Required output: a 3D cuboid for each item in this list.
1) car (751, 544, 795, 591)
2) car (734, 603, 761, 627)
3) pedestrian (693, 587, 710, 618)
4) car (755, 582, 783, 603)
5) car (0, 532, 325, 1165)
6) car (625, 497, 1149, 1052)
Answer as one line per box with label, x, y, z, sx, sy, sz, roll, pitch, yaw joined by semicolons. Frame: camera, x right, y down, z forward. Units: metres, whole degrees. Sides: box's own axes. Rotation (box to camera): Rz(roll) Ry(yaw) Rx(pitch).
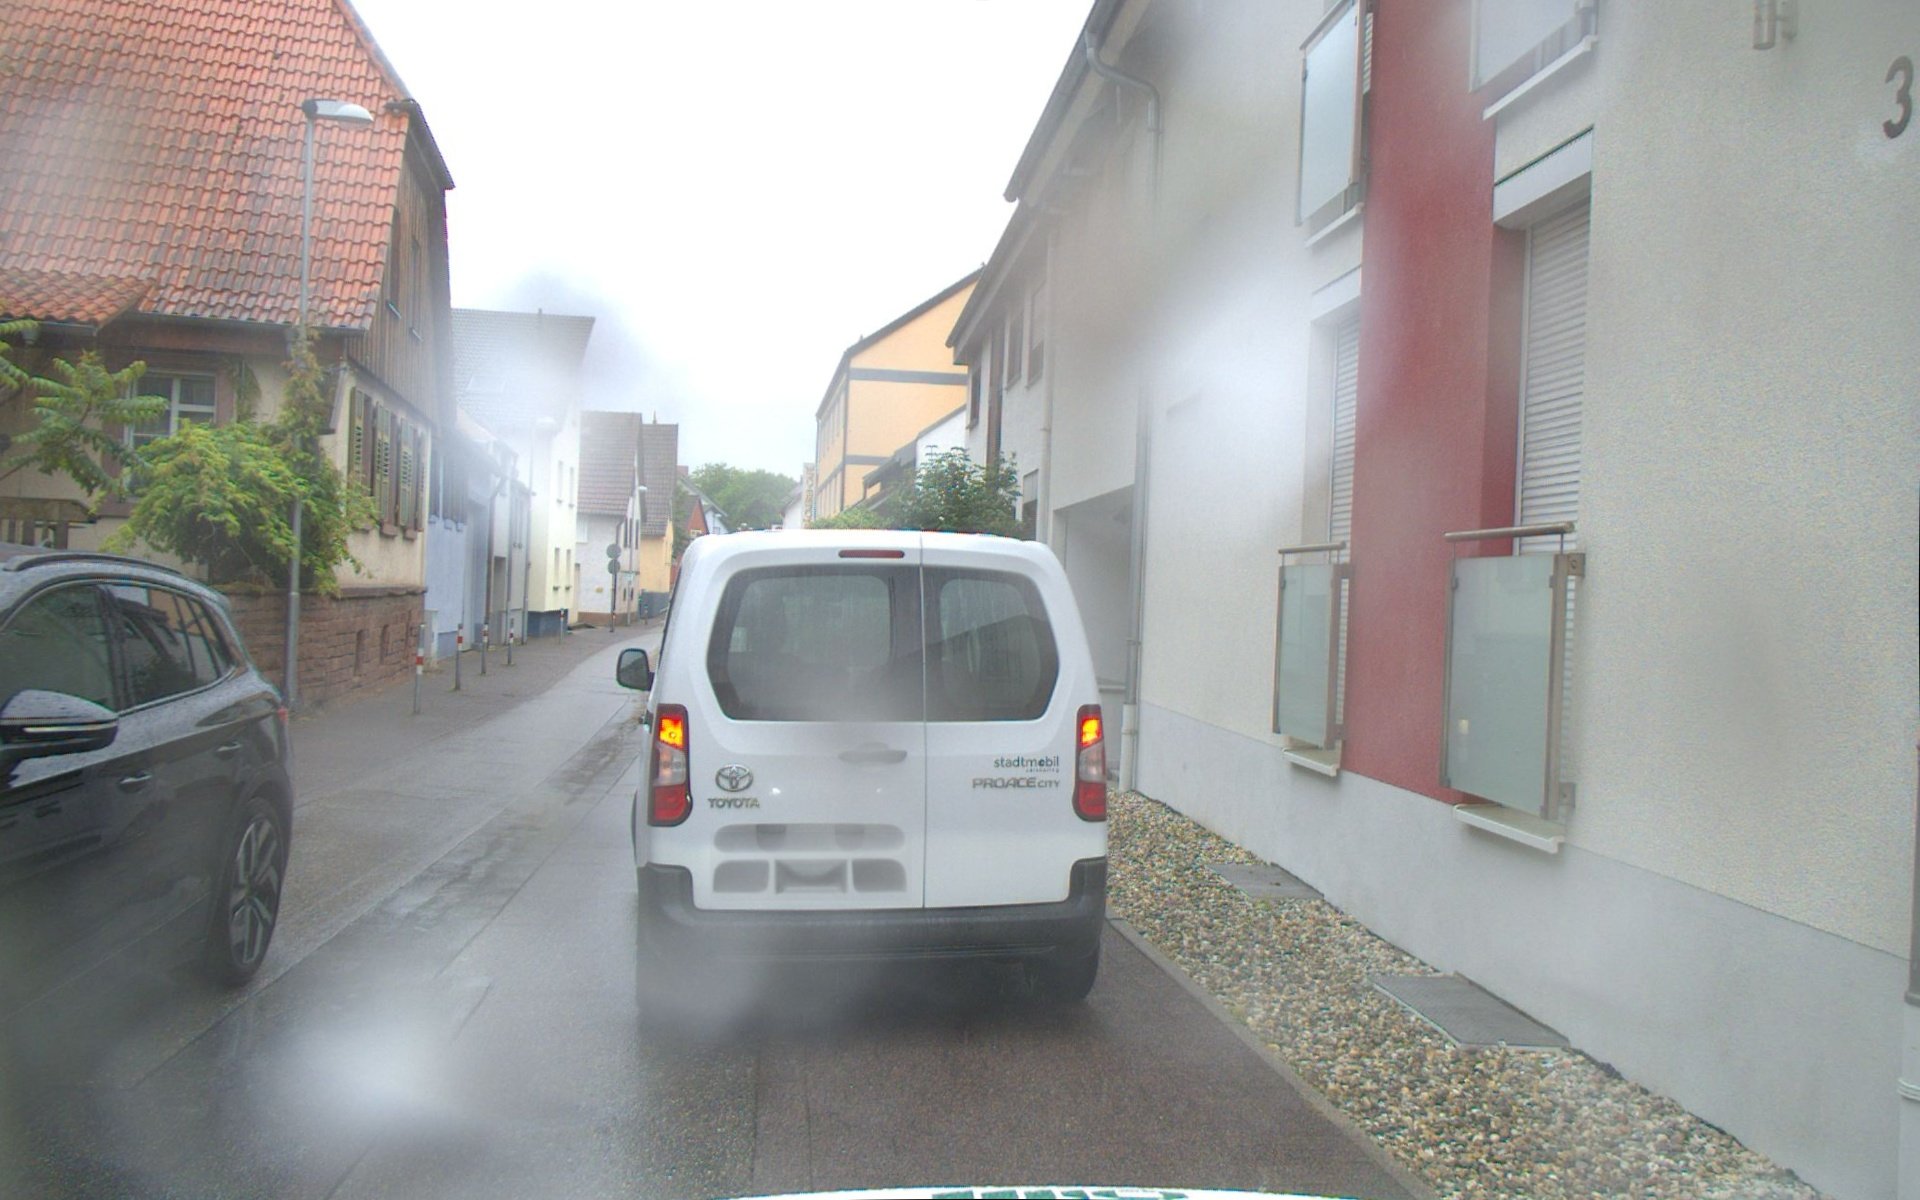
car;-8.584;-1.467;76.213;1.955;2.049;3.995;1;0;-6
car;-13.833;0.971;107.372;1.532;1.503;3.990;1;0;-10
pedestrian;-15.864;0.150;101.496;1.031;1.926;0.875;1;-1;-9
car;-13.717;-0.520;118.637;1.747;1.419;3.990;1;0;-10
car;-3.347;0.588;4.721;1.797;1.583;4.233;2;0;-7
car;-0.529;0.588;7.530;1.742;1.811;3.991;1;0;-9
